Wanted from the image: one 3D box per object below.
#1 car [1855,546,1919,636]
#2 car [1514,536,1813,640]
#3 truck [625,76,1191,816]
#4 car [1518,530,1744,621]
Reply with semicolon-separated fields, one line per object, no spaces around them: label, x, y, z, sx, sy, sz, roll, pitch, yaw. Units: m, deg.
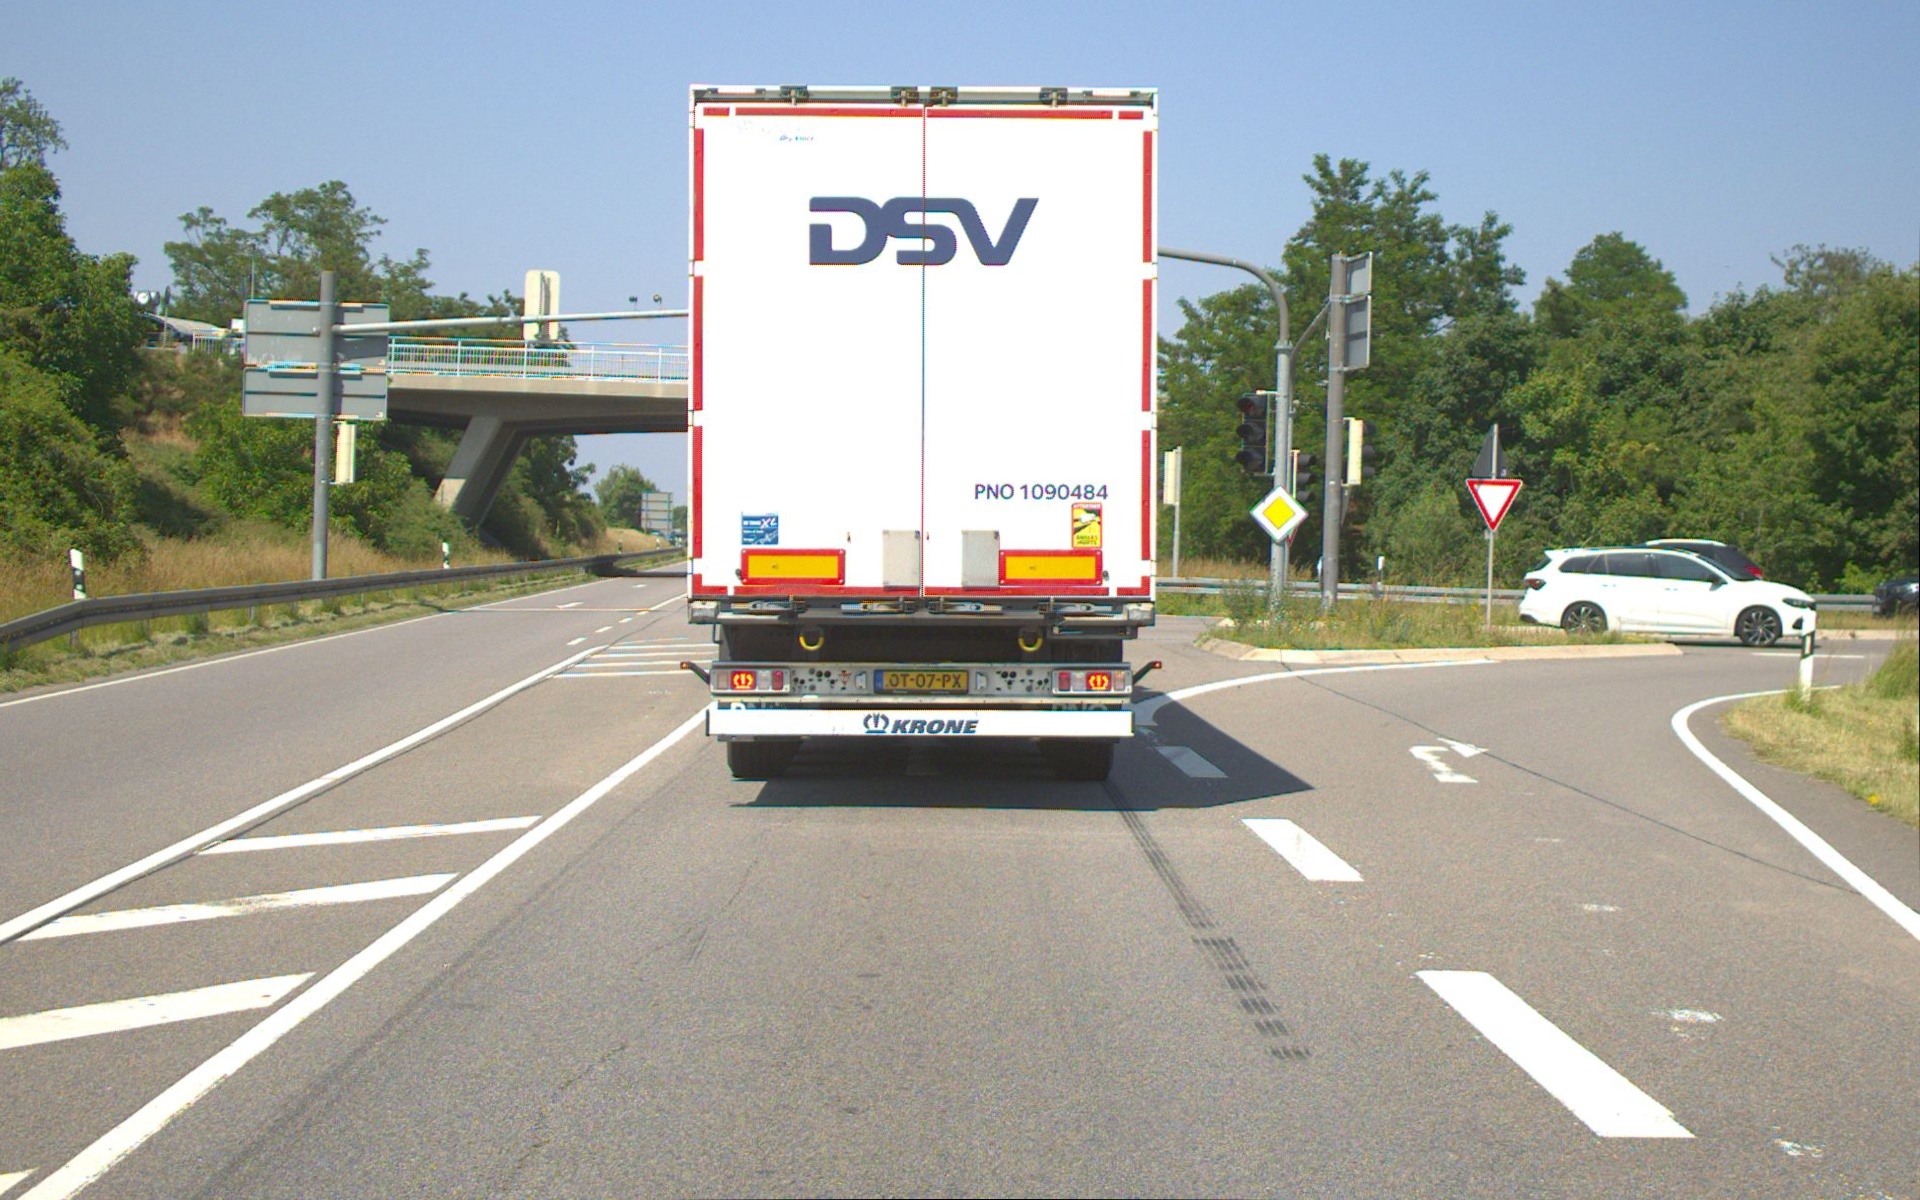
car;18.660;-0.140;62.220;4.486;1.592;1.767;1;0;3
car;10.960;-0.191;53.528;4.471;1.561;1.738;0;1;13
truck;-0.317;-0.898;23.390;2.987;3.928;9.876;1;1;0
car;12.523;-0.461;64.336;3.986;1.634;1.841;1;0;6
